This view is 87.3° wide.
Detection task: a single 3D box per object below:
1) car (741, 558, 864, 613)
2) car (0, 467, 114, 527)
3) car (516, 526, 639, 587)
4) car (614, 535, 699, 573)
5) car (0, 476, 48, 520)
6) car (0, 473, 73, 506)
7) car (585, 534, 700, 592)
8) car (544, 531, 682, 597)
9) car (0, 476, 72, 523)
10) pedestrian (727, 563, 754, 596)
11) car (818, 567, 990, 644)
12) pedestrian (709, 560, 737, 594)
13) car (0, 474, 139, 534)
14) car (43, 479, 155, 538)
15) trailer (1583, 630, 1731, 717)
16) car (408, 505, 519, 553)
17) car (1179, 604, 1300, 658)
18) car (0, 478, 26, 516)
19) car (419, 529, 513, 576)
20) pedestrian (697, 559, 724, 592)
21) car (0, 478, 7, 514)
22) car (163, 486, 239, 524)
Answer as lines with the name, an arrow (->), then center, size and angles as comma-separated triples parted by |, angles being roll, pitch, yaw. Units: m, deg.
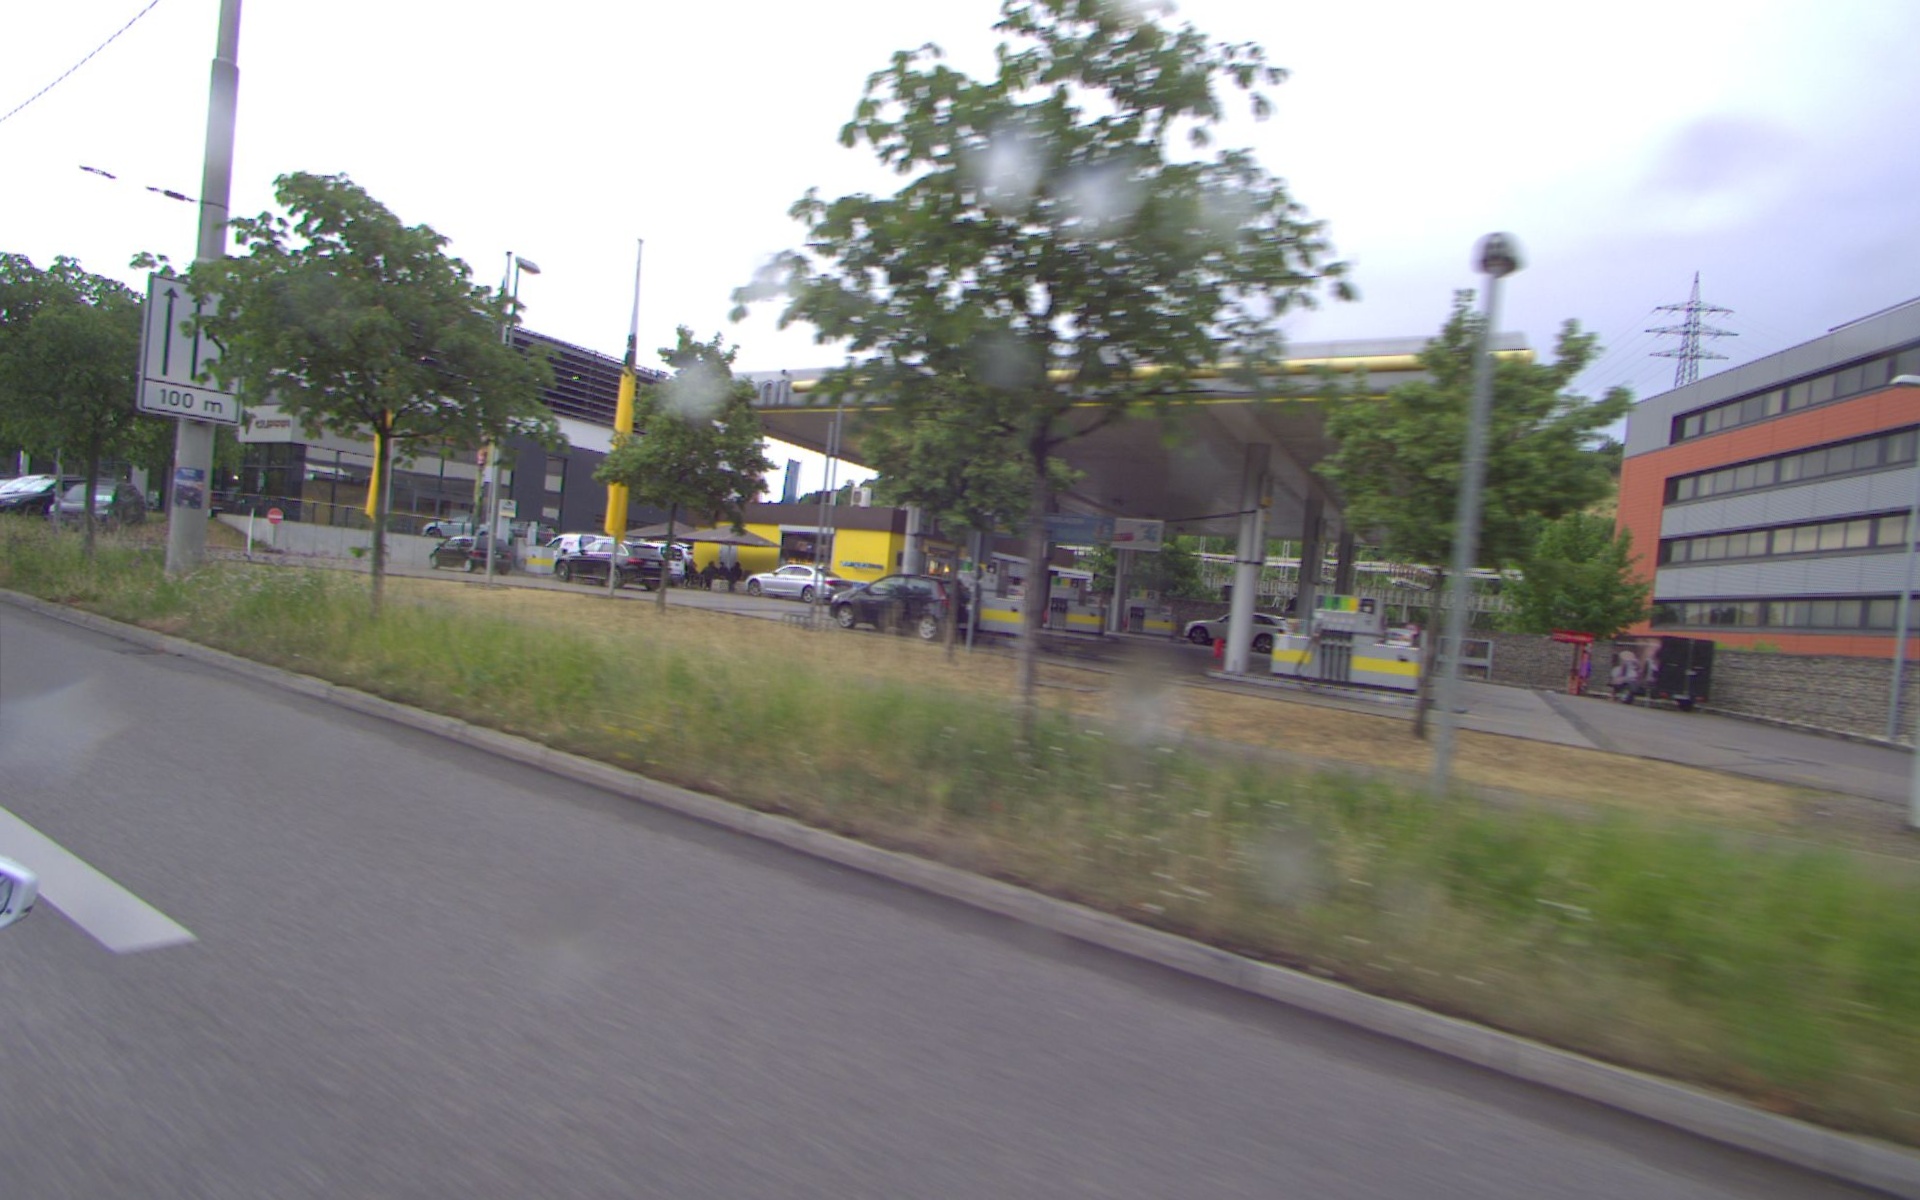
car -> -6.496, -0.606, 41.261 | 4.638, 1.627, 1.998 | 6, -2, 30
car -> -37.071, -4.163, 40.424 | 1.786, 2.018, 4.498 | 6, 2, 12
car -> -15.498, -1.778, 40.716 | 4.638, 1.881, 1.998 | 6, -2, 30
car -> -17.576, -2.647, 58.359 | 4.236, 1.665, 1.844 | 7, 1, -1
car -> -43.574, -4.680, 44.438 | 1.787, 1.819, 4.495 | 6, 2, 21
car -> -72.109, -8.607, 78.356 | 1.912, 2.001, 4.029 | 6, 1, 32
car -> -13.634, -1.586, 43.160 | 4.638, 1.881, 1.998 | 6, -2, 31
car -> -12.451, -1.298, 36.030 | 4.638, 1.756, 1.998 | 6, -2, 30
car -> -41.171, -4.420, 42.954 | 1.787, 1.775, 4.495 | 6, 2, 21
pedestrian -> -9.567, -0.886, 43.923 | 0.765, 1.334, 0.800 | 6, 2, 15
car -> -1.372, 0.115, 24.271 | 3.719, 1.438, 1.780 | 7, 2, 32
pedestrian -> -10.114, -0.972, 42.928 | 0.765, 1.334, 0.800 | 6, 2, 15
car -> -34.787, -3.696, 38.887 | 1.843, 1.813, 4.387 | 6, 2, 18
car -> -31.552, -3.341, 37.011 | 1.853, 1.841, 4.363 | 4, 3, -23
trailer -> 21.213, 2.165, 30.855 | 1.804, 2.174, 4.000 | 6, 1, 5
car -> -23.775, -3.370, 48.269 | 4.236, 1.665, 1.844 | 7, 1, -1
car -> 12.033, 1.334, 43.335 | 4.523, 1.684, 1.998 | 6, -2, 31
car -> -45.986, -4.939, 45.979 | 1.788, 1.640, 4.493 | 6, 2, 23
car -> -18.612, -1.807, 37.869 | 3.431, 1.353, 1.394 | 6, -2, 31
pedestrian -> -10.790, -1.038, 43.544 | 0.700, 1.334, 0.800 | 6, 2, 15
car -> -48.098, -5.171, 47.217 | 1.788, 1.685, 4.495 | 6, 2, 21
car -> -39.107, -4.898, 51.809 | 3.834, 1.491, 1.781 | 7, 1, 31
